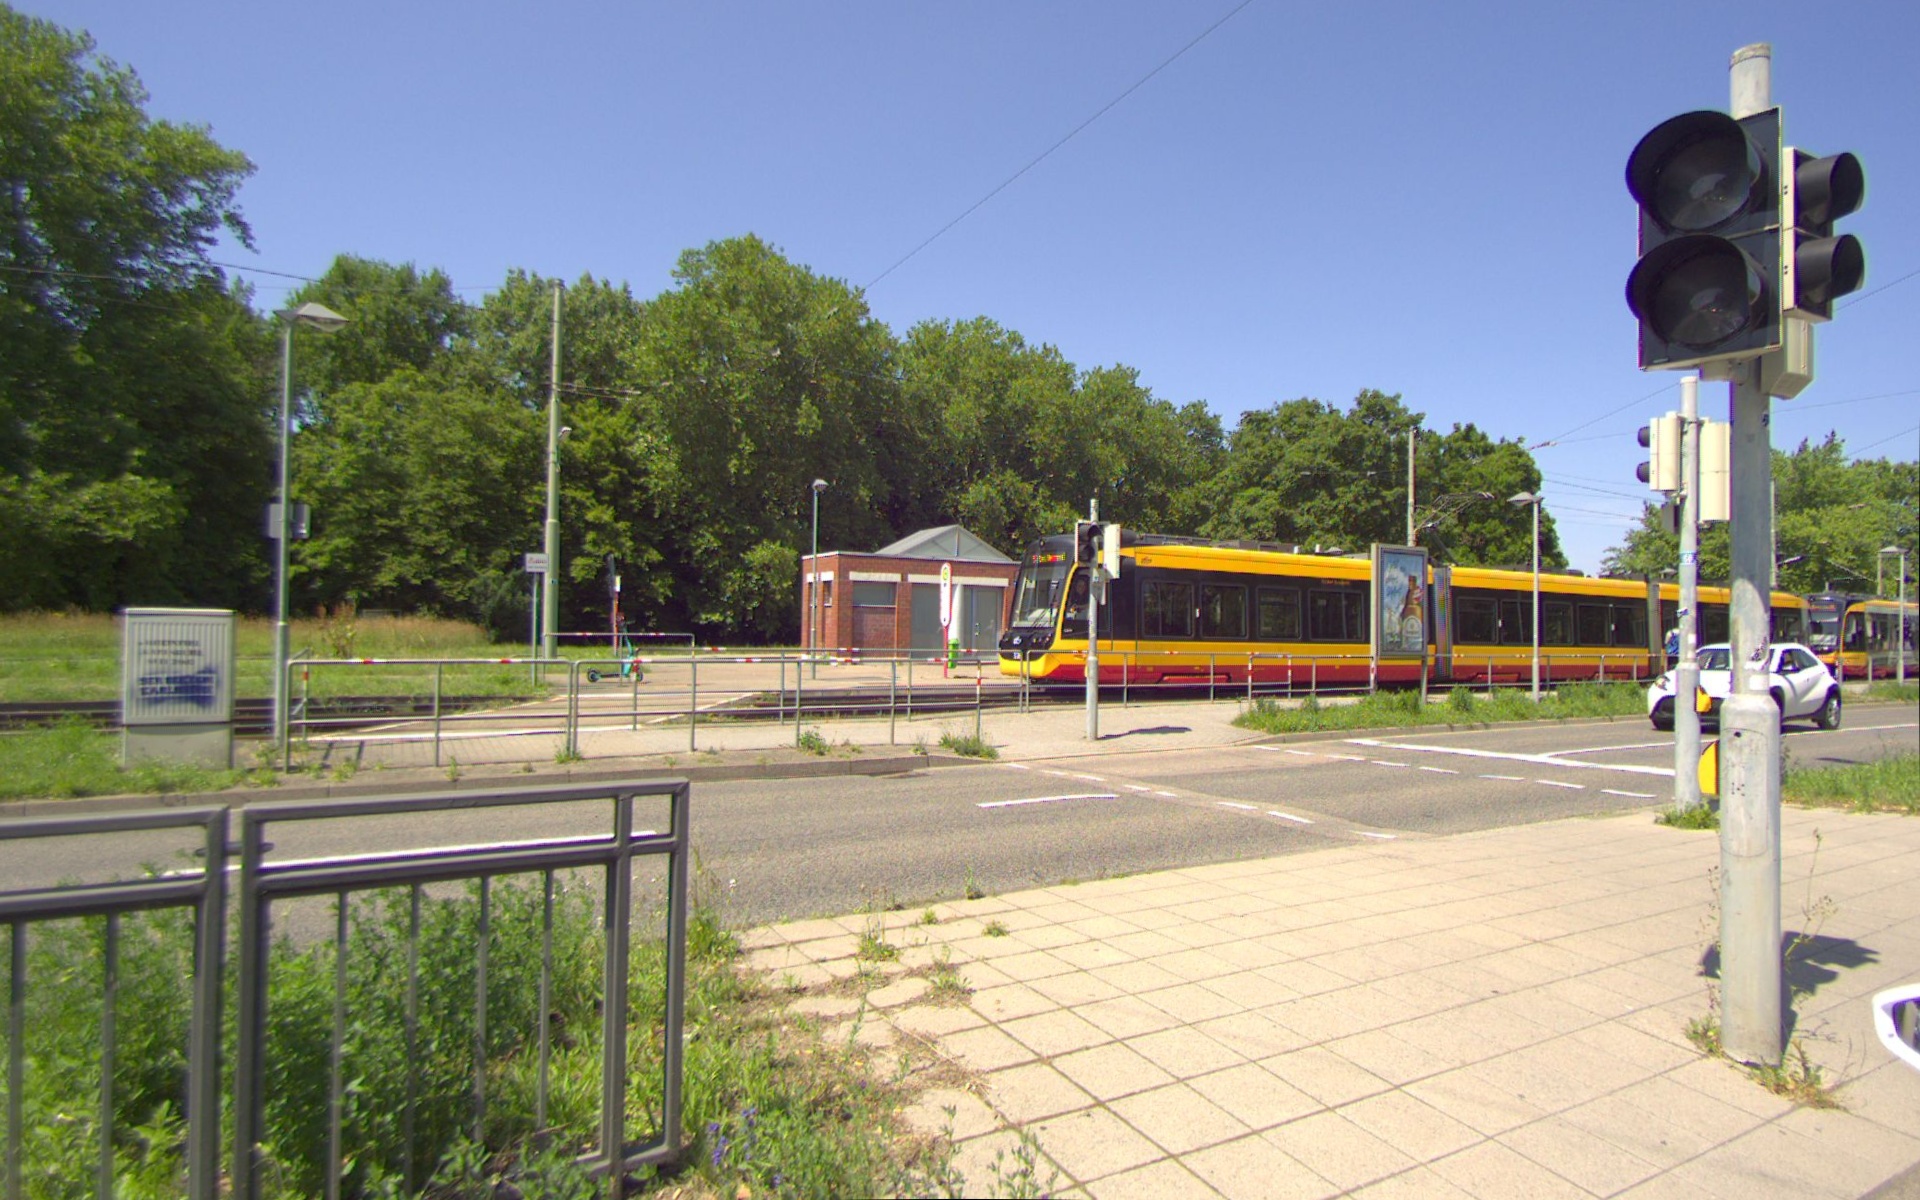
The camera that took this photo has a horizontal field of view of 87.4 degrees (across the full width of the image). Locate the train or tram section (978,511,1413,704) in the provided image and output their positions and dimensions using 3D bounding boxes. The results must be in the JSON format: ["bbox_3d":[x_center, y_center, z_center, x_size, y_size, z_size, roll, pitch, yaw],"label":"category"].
[{"bbox_3d":[6.093,0.286,24.469,11.406,3.907,2.935,2,0,-31],"label":"train or tram section"}]

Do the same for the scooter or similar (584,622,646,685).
[{"bbox_3d":[-7.166,1.105,20.863,1.087,1.253,0.765,1,0,-30],"label":"scooter or similar"}]

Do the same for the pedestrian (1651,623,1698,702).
[{"bbox_3d":[16.956,1.478,23.855,0.768,1.815,0.628,1,0,-31],"label":"pedestrian"}]

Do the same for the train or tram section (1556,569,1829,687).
[{"bbox_3d":[27.223,1.060,36.961,13.104,3.817,3.029,2,0,-30],"label":"train or tram section"}]

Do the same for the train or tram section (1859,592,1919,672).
[{"bbox_3d":[48.057,1.610,50.787,12.369,3.673,3.013,2,0,-44],"label":"train or tram section"}]

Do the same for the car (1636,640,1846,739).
[{"bbox_3d":[13.755,1.493,17.658,3.678,1.524,1.760,2,-1,-32],"label":"car"}]

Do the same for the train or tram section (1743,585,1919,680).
[{"bbox_3d":[38.779,1.401,43.633,13.744,3.673,3.027,2,0,-32],"label":"train or tram section"}]

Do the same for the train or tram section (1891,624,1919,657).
[{"bbox_3d":[107.824,4.546,106.461,3.006,3.512,13.176,1,0,-26],"label":"train or tram section"}]

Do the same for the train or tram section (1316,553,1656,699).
[{"bbox_3d":[16.319,0.817,30.568,12.448,3.791,3.029,2,0,-31],"label":"train or tram section"}]
